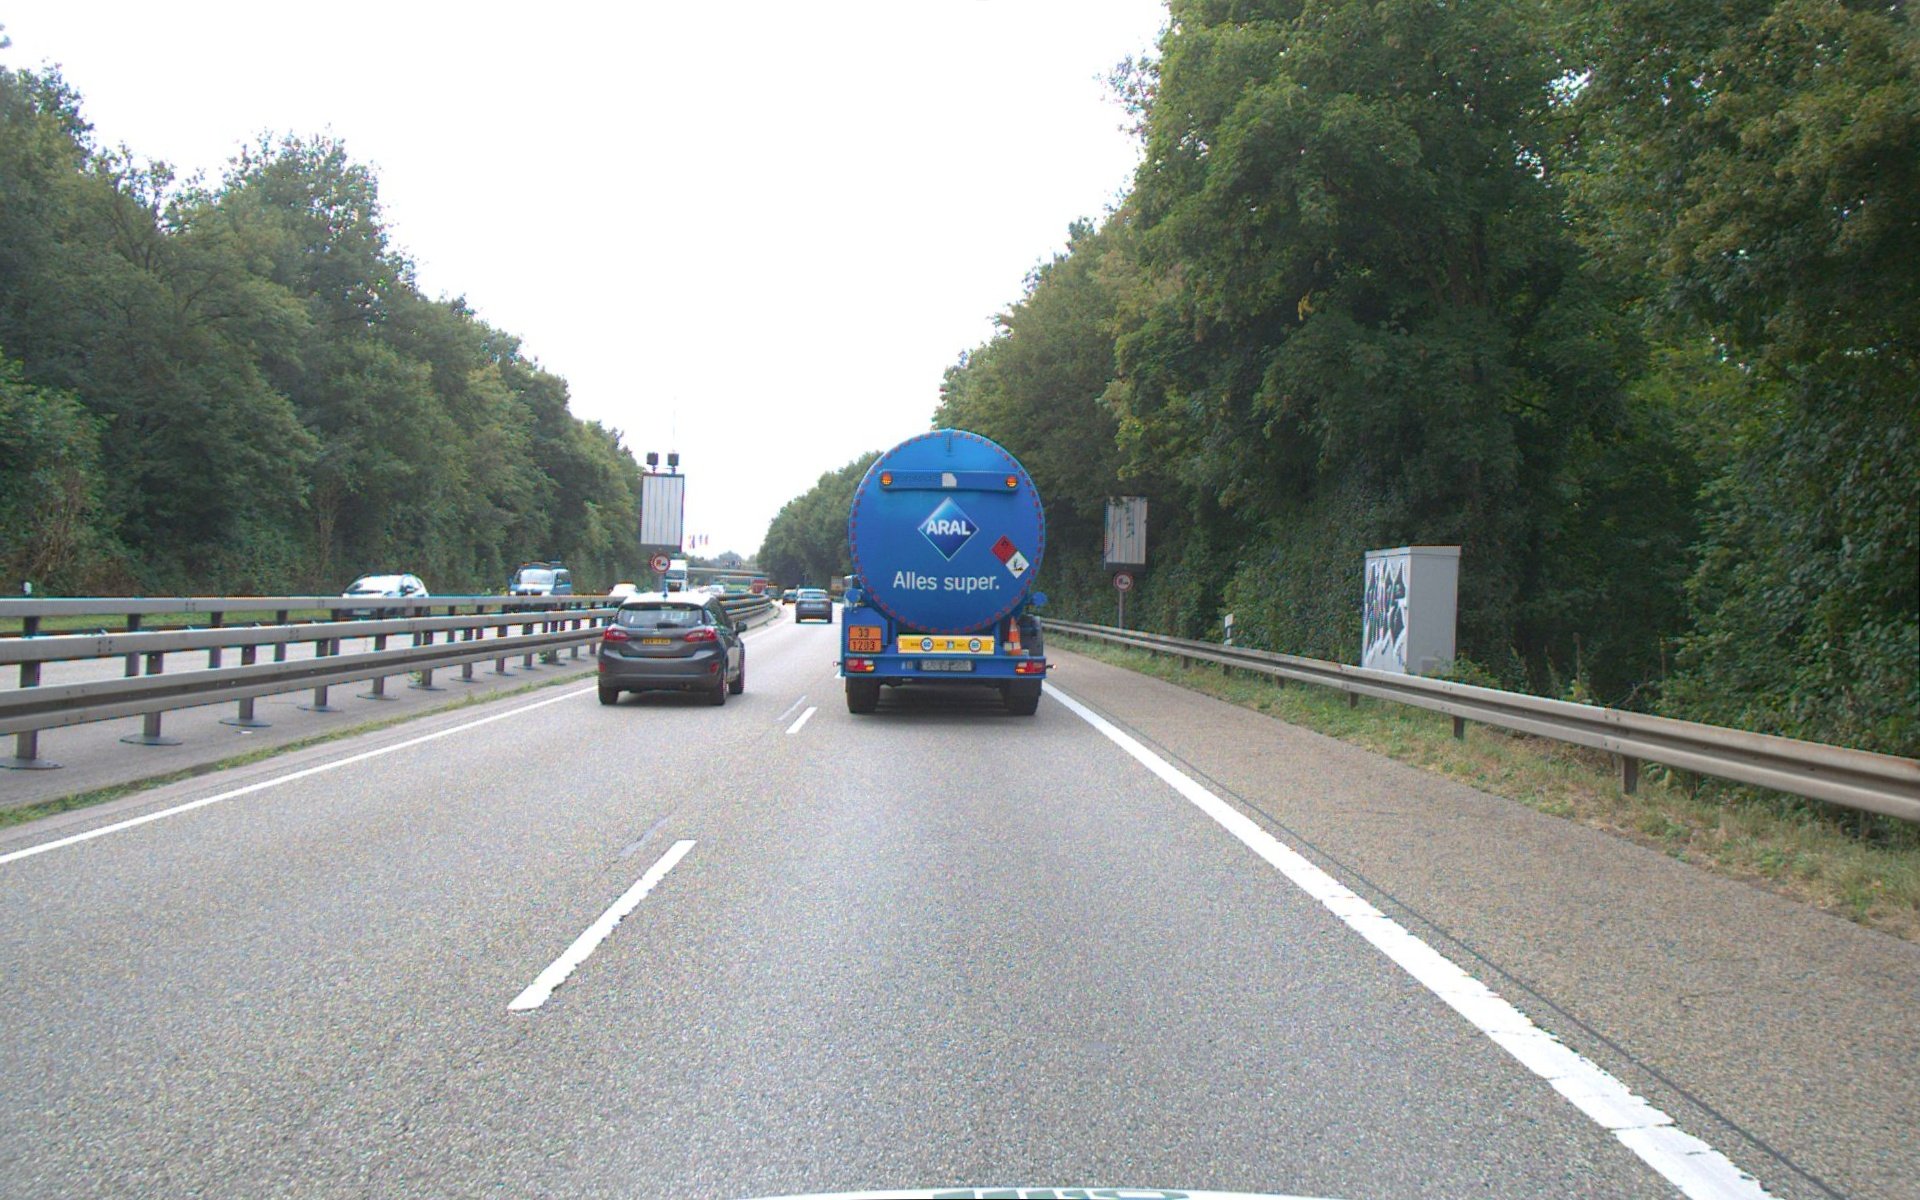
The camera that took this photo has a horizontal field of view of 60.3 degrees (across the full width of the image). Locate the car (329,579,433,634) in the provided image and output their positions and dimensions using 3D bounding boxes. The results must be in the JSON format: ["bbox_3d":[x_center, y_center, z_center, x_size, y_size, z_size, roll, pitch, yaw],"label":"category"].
[{"bbox_3d":[-16.705,0.184,47.874,1.660,1.492,4.088,0,0,-2],"label":"car"}]

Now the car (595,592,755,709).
[{"bbox_3d":[-3.941,0.652,23.521,1.790,1.483,4.635,0,0,-4],"label":"car"}]

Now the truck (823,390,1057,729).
[{"bbox_3d":[-0.365,-0.485,22.981,2.700,3.914,7.685,0,0,-2],"label":"truck"}]

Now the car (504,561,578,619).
[{"bbox_3d":[-17.487,-0.398,69.276,1.896,2.362,5.303,0,0,-2],"label":"car"}]

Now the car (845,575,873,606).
[{"bbox_3d":[-7.626,-0.714,125.109,1.953,2.284,3.998,0,0,-2],"label":"car"}]

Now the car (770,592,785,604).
[{"bbox_3d":[-24.910,-0.273,225.518,1.955,1.579,3.994,0,0,-7],"label":"car"}]

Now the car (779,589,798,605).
[{"bbox_3d":[-17.589,-0.302,169.875,1.917,1.595,3.995,0,0,-6],"label":"car"}]

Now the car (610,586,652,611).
[{"bbox_3d":[-20.243,-0.074,101.954,1.954,1.507,4.128,0,0,-4],"label":"car"}]

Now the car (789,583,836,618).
[{"bbox_3d":[-7.169,0.015,80.575,1.788,1.637,4.168,0,0,2],"label":"car"}]

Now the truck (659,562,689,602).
[{"bbox_3d":[-30.252,-1.865,175.174,2.640,4.134,5.316,0,0,-6],"label":"truck"}]
